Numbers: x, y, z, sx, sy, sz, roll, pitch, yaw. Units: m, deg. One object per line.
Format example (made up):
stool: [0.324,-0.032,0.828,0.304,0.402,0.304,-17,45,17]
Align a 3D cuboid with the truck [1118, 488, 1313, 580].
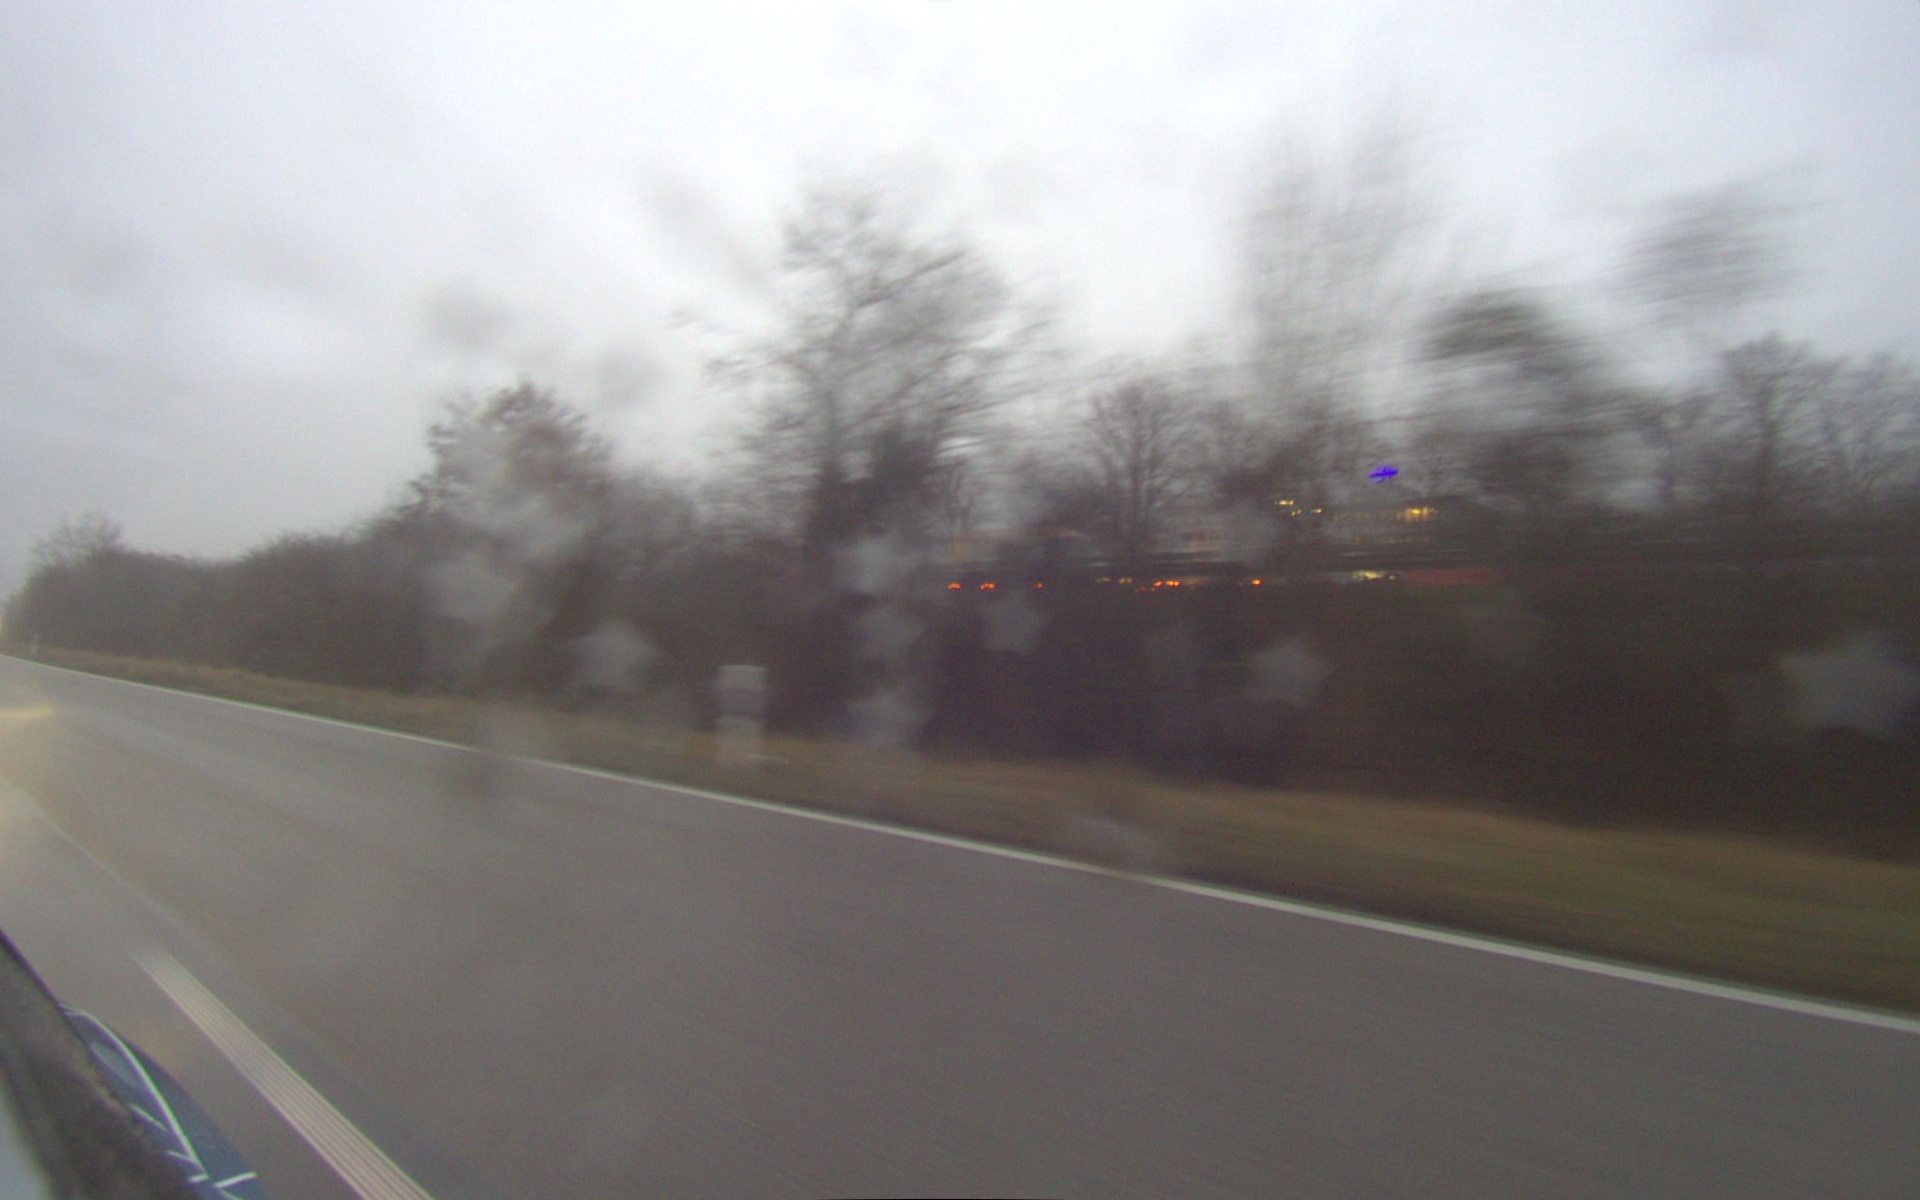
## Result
truck: [7.920,-1.953,31.818,5.653,2.512,1.973,-1,0,40]

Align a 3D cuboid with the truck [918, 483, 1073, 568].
truck: [1.083,-2.313,32.757,4.825,2.361,1.973,-1,0,40]
